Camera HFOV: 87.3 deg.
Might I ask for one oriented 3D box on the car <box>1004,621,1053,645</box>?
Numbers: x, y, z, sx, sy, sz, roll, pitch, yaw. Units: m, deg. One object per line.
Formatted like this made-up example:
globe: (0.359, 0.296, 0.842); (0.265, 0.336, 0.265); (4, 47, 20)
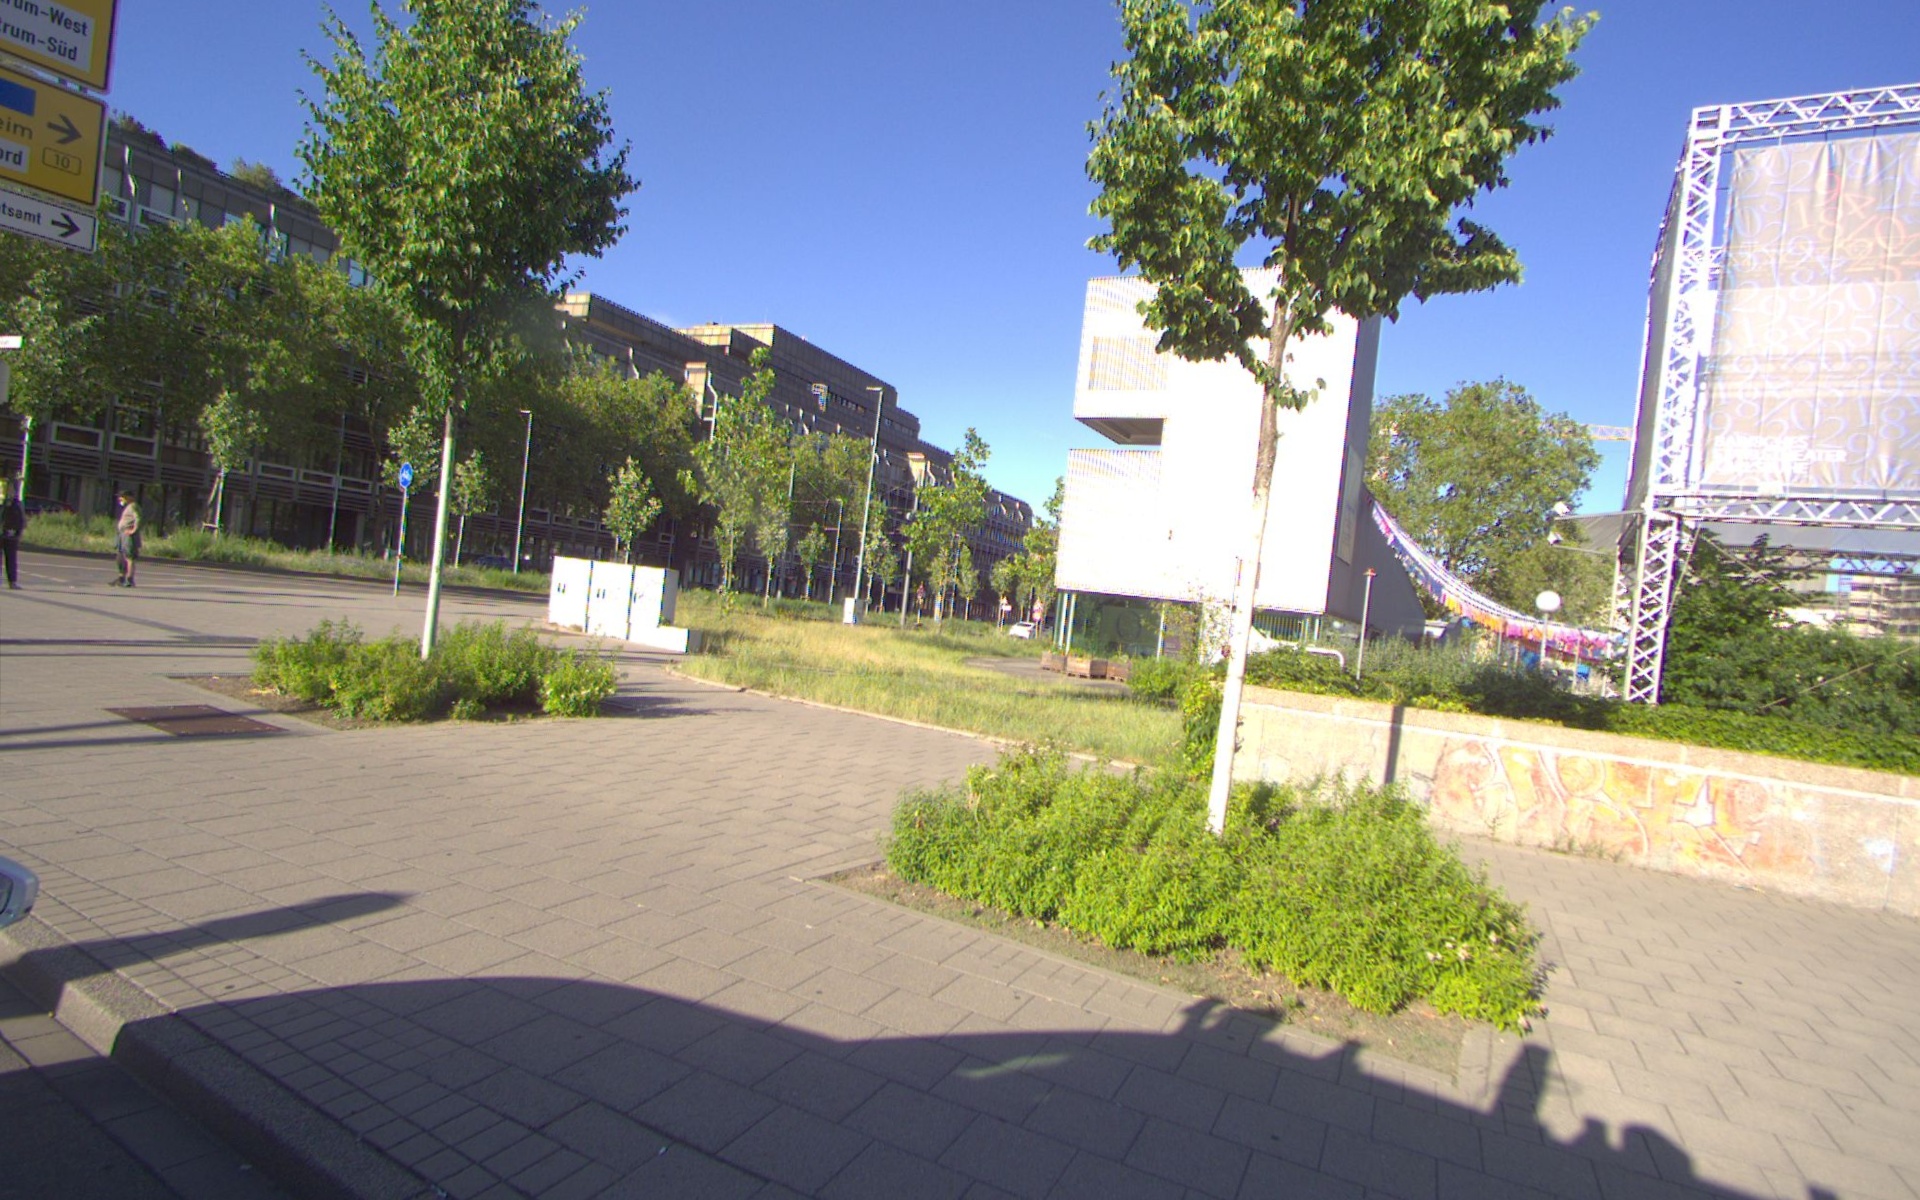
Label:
car: (5.191, 2.494, 75.675); (1.820, 1.437, 4.956); (7, -1, 26)

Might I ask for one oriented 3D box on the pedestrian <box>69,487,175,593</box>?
pedestrian: (-14.913, -1.057, 17.925); (0.946, 1.684, 0.882); (7, -1, 11)

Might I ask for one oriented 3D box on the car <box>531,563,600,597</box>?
car: (-24.821, -1.241, 63.405); (1.630, 1.603, 3.912); (7, -2, 25)

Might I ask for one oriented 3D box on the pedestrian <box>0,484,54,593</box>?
pedestrian: (-14.038, -0.923, 14.786); (0.633, 1.510, 0.789); (6, -1, 31)

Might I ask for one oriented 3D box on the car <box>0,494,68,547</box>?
car: (-33.495, -2.886, 34.516); (1.629, 1.604, 3.896); (6, -1, 24)
